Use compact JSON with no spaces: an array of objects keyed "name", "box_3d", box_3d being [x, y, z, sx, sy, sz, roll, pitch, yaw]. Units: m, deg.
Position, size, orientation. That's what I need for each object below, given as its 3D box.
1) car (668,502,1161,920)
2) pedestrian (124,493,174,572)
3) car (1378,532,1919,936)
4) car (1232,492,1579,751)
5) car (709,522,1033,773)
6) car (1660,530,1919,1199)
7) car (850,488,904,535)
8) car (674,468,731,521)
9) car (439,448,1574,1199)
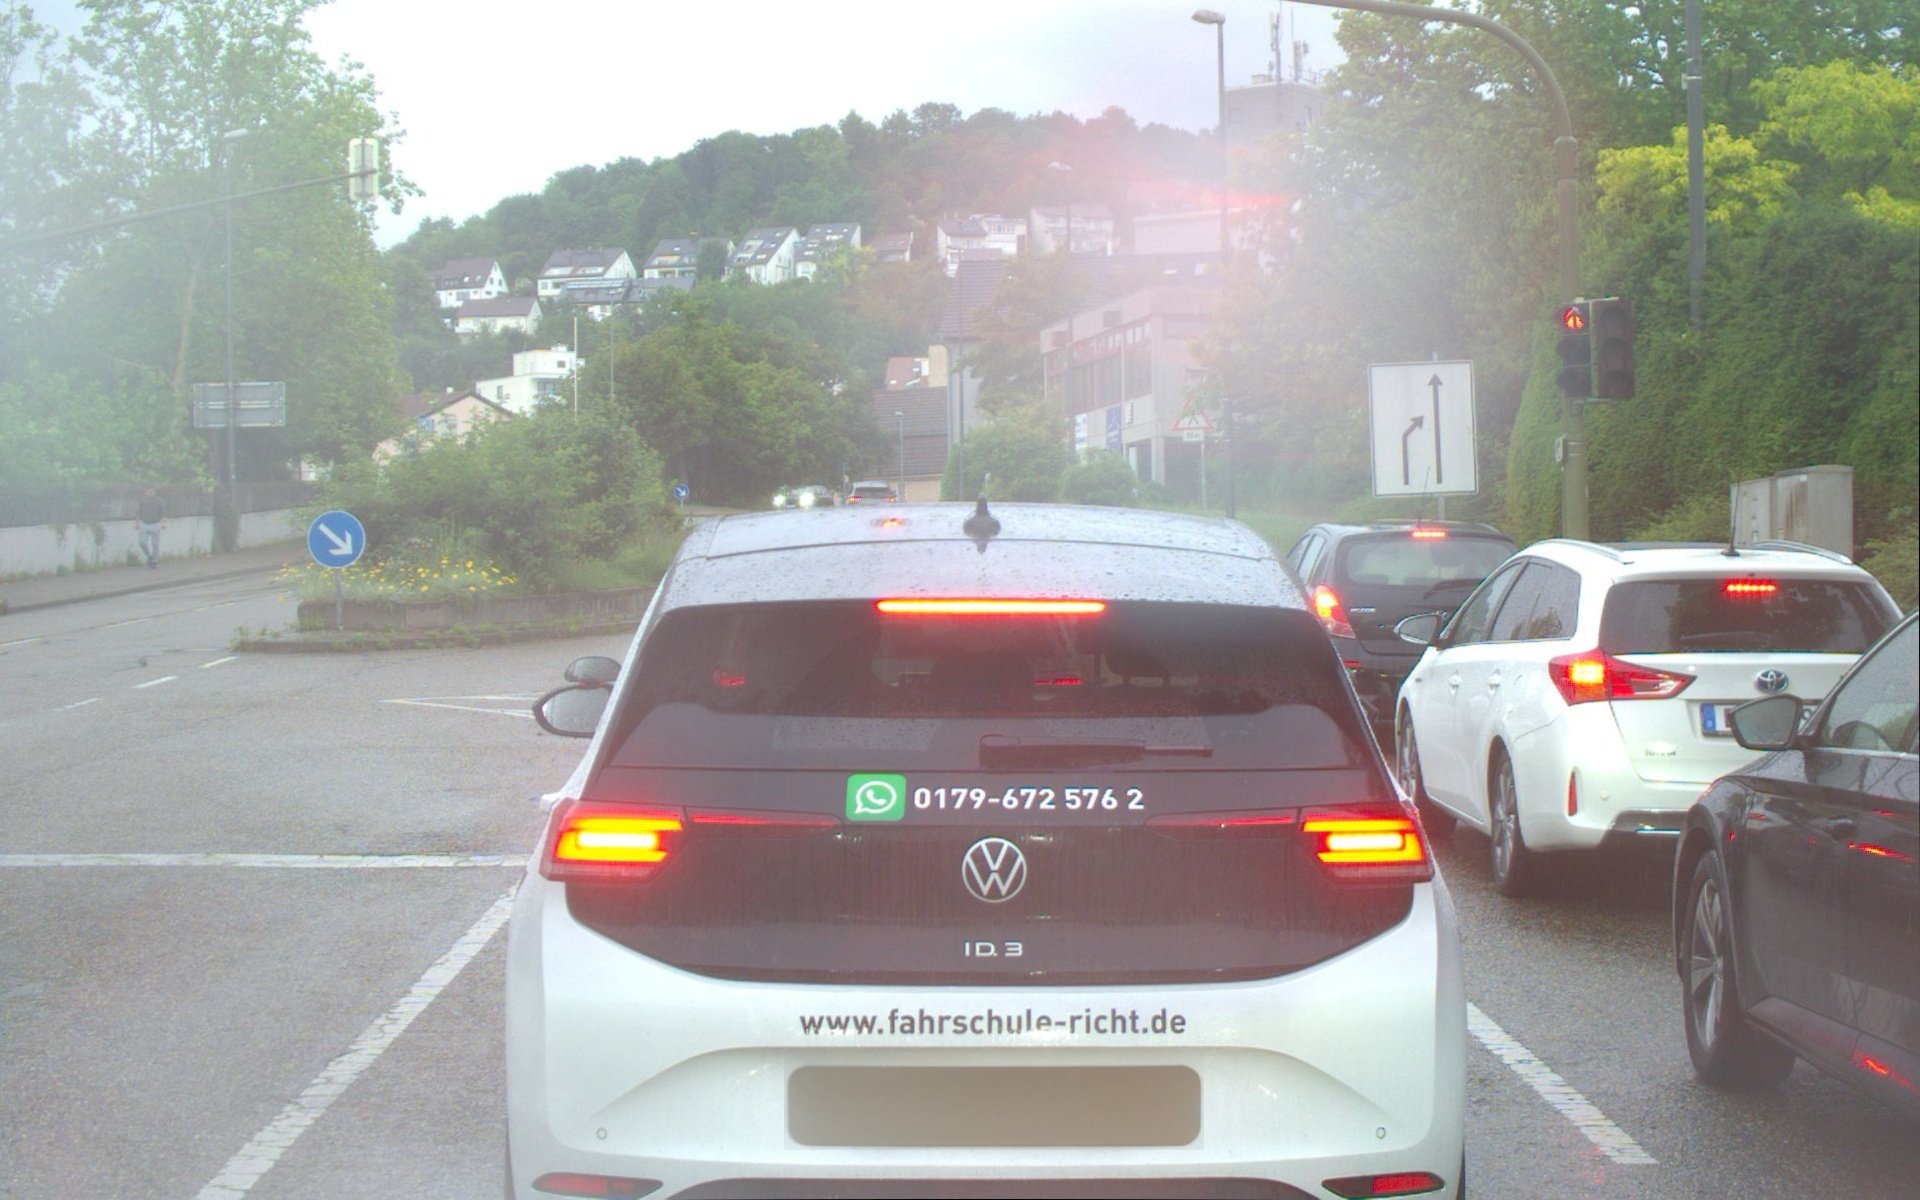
[{"name":"car","box_3d":[-0.217,0.367,15.125,1.837,1.549,4.175,1,1,-1]},{"name":"pedestrian","box_3d":[-16.432,-1.369,69.685,0.760,1.562,0.825,-3,1,-1]},{"name":"car","box_3d":[3.053,0.470,15.001,1.837,1.461,4.117,1,1,-1]},{"name":"car","box_3d":[2.919,0.104,23.313,1.775,1.576,4.000,1,1,0]},{"name":"car","box_3d":[-0.553,0.232,21.709,1.837,1.395,3.831,1,1,-1]},{"name":"car","box_3d":[2.877,0.610,7.496,1.838,1.461,4.350,1,1,1]},{"name":"car","box_3d":[-2.938,-3.119,122.046,1.775,1.576,4.000,-2,1,0]},{"name":"car","box_3d":[-10.475,-4.286,140.037,1.993,2.007,4.000,1,0,0]},{"name":"car","box_3d":[0.025,0.521,7.955,1.837,1.623,4.616,1,1,-1]}]
